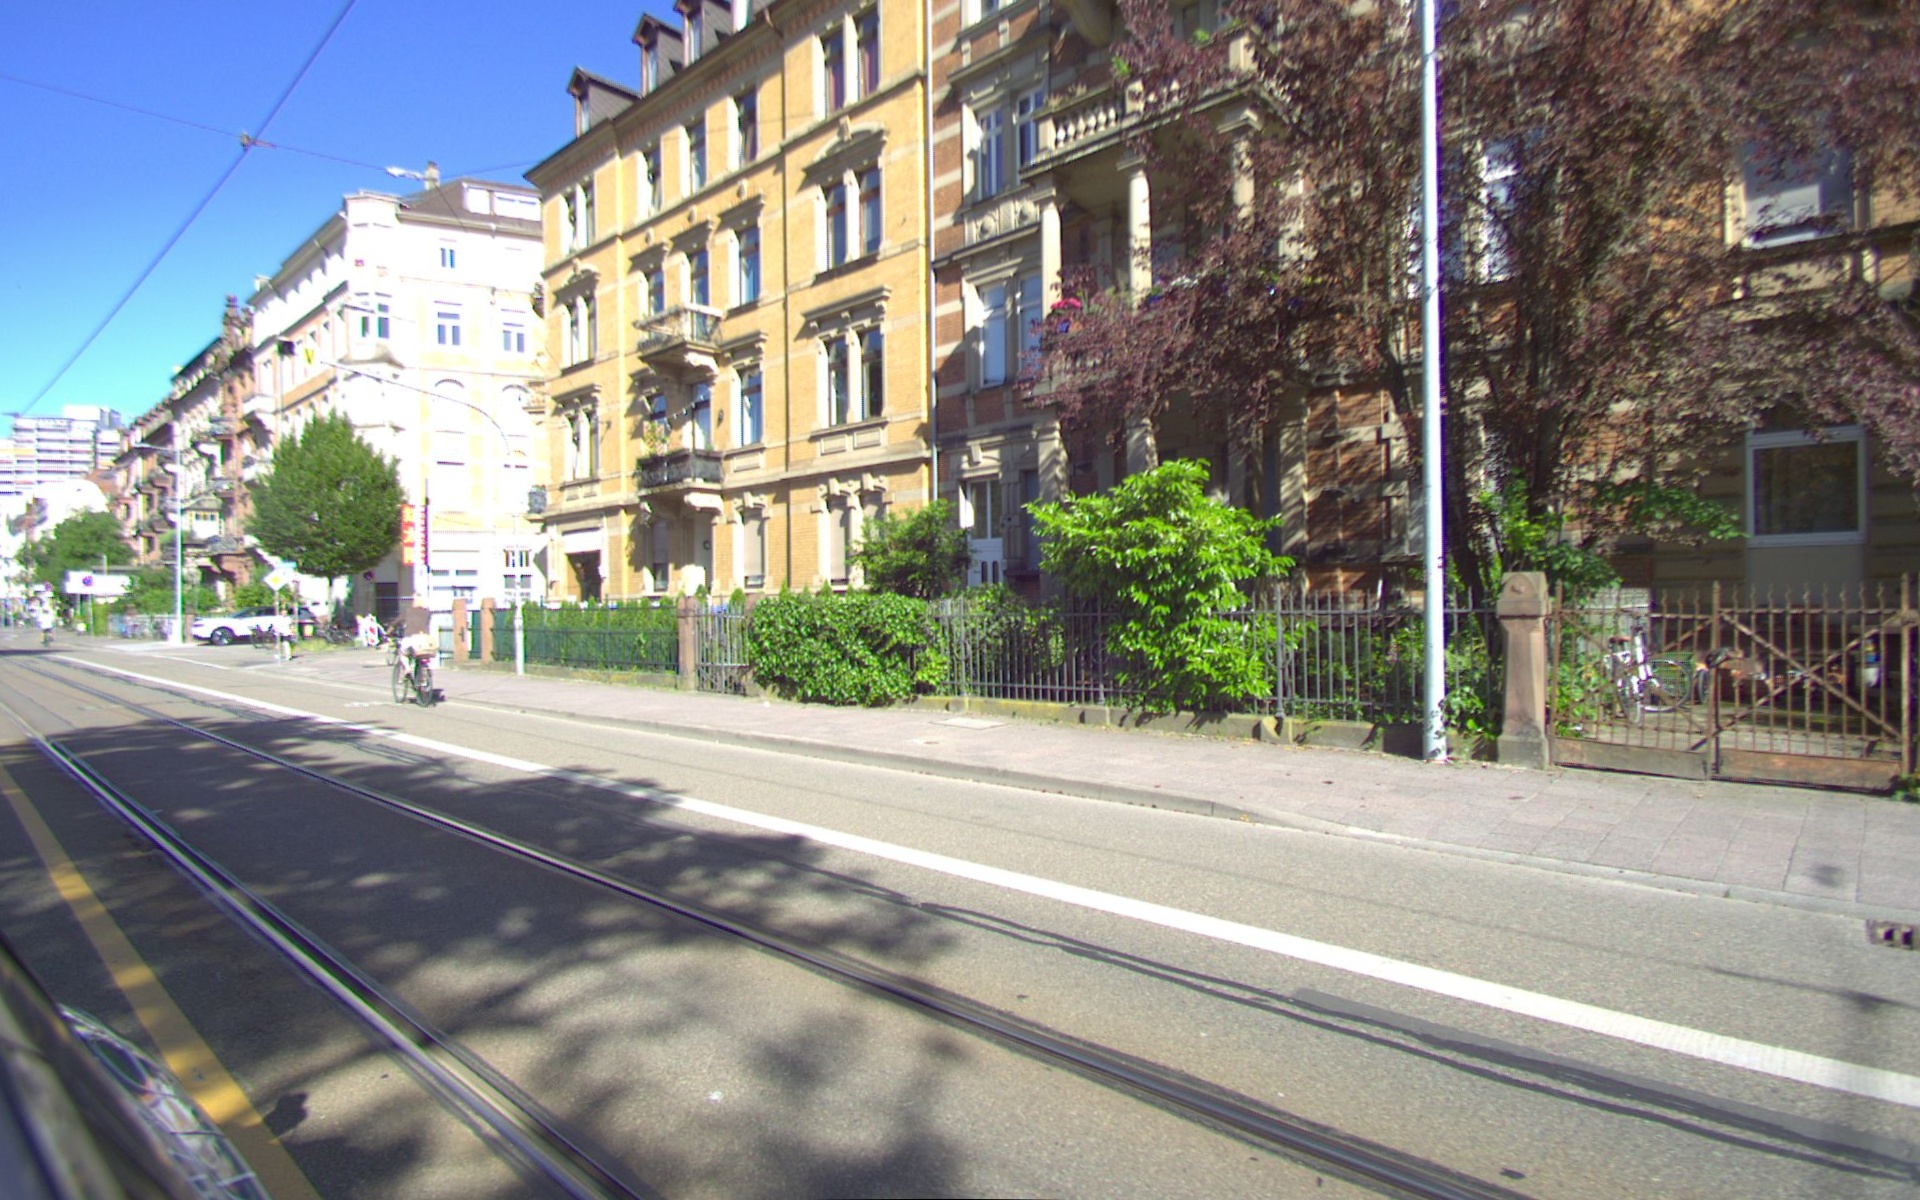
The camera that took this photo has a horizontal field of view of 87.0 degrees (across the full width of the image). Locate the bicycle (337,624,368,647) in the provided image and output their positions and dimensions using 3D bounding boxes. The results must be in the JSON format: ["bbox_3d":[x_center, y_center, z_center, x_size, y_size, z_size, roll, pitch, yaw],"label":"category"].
[{"bbox_3d":[-26.317,1.532,43.835,0.244,0.921,1.539,0,1,7],"label":"bicycle"}]

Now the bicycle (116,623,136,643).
[{"bbox_3d":[-44.993,1.760,54.575,1.767,1.041,0.557,-2,1,43],"label":"bicycle"}]

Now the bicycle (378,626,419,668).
[{"bbox_3d":[-14.115,1.169,25.427,1.870,1.008,0.331,-1,1,43],"label":"bicycle"}]

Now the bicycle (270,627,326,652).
[{"bbox_3d":[-26.645,1.591,40.736,1.964,0.983,0.579,-1,1,8],"label":"bicycle"}]

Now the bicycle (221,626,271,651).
[{"bbox_3d":[-28.756,1.550,40.768,0.613,0.921,1.785,0,1,7],"label":"bicycle"}]

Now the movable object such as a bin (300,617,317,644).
[{"bbox_3d":[-27.814,1.299,43.171,0.568,1.079,0.718,-2,1,-33],"label":"movable object such as a bin"}]

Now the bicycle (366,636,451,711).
[{"bbox_3d":[-8.811,1.140,16.149,1.719,1.121,0.684,-1,-2,43],"label":"bicycle"}]

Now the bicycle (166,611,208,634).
[{"bbox_3d":[-43.565,1.245,57.038,0.565,1.163,1.743,-2,3,42],"label":"bicycle"}]

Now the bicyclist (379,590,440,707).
[{"bbox_3d":[-8.808,0.761,16.194,0.616,1.815,0.653,-1,-2,43],"label":"bicyclist"}]

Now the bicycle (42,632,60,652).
[{"bbox_3d":[-43.584,1.993,48.516,2.203,0.933,0.455,-1,-2,43],"label":"bicycle"}]

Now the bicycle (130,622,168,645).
[{"bbox_3d":[-40.669,1.695,50.748,1.753,1.041,0.561,-3,3,19],"label":"bicycle"}]

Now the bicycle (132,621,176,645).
[{"bbox_3d":[-39.241,1.597,49.273,1.746,1.041,0.564,-3,0,7],"label":"bicycle"}]

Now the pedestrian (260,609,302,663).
[{"bbox_3d":[-22.470,1.181,33.498,1.081,1.736,0.821,0,1,39],"label":"pedestrian"}]

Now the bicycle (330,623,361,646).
[{"bbox_3d":[-26.626,1.492,43.894,0.244,0.921,1.539,0,1,7],"label":"bicycle"}]

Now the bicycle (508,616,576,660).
[{"bbox_3d":[-10.251,0.922,24.861,0.389,0.982,1.519,-1,1,41],"label":"bicycle"}]

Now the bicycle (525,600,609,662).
[{"bbox_3d":[-9.100,0.705,23.510,0.612,1.330,1.748,-2,1,33],"label":"bicycle"}]

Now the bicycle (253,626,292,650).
[{"bbox_3d":[-27.902,1.541,41.061,0.613,0.921,1.292,0,1,7],"label":"bicycle"}]

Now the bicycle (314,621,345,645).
[{"bbox_3d":[-26.017,1.362,41.779,0.611,0.921,1.297,0,1,-9],"label":"bicycle"}]

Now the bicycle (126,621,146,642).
[{"bbox_3d":[-43.519,1.654,53.433,1.767,1.041,0.557,-2,1,43],"label":"bicycle"}]

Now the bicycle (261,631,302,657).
[{"bbox_3d":[-26.140,1.674,38.986,0.613,0.921,1.292,0,1,7],"label":"bicycle"}]

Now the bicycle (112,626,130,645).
[{"bbox_3d":[-47.617,2.005,57.427,1.768,1.041,0.557,-3,0,44],"label":"bicycle"}]

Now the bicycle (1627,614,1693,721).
[{"bbox_3d":[7.108,0.659,10.264,1.134,0.979,0.295,-2,1,-43],"label":"bicycle"}]

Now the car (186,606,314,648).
[{"bbox_3d":[-31.569,1.154,45.066,4.395,1.656,1.968,-3,1,-45],"label":"car"}]

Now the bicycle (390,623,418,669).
[{"bbox_3d":[-14.147,1.153,25.746,0.809,1.134,0.366,-1,1,43],"label":"bicycle"}]

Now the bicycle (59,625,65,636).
[{"bbox_3d":[-76.227,2.605,85.912,0.338,0.933,1.945,-2,1,-42],"label":"bicycle"}]
